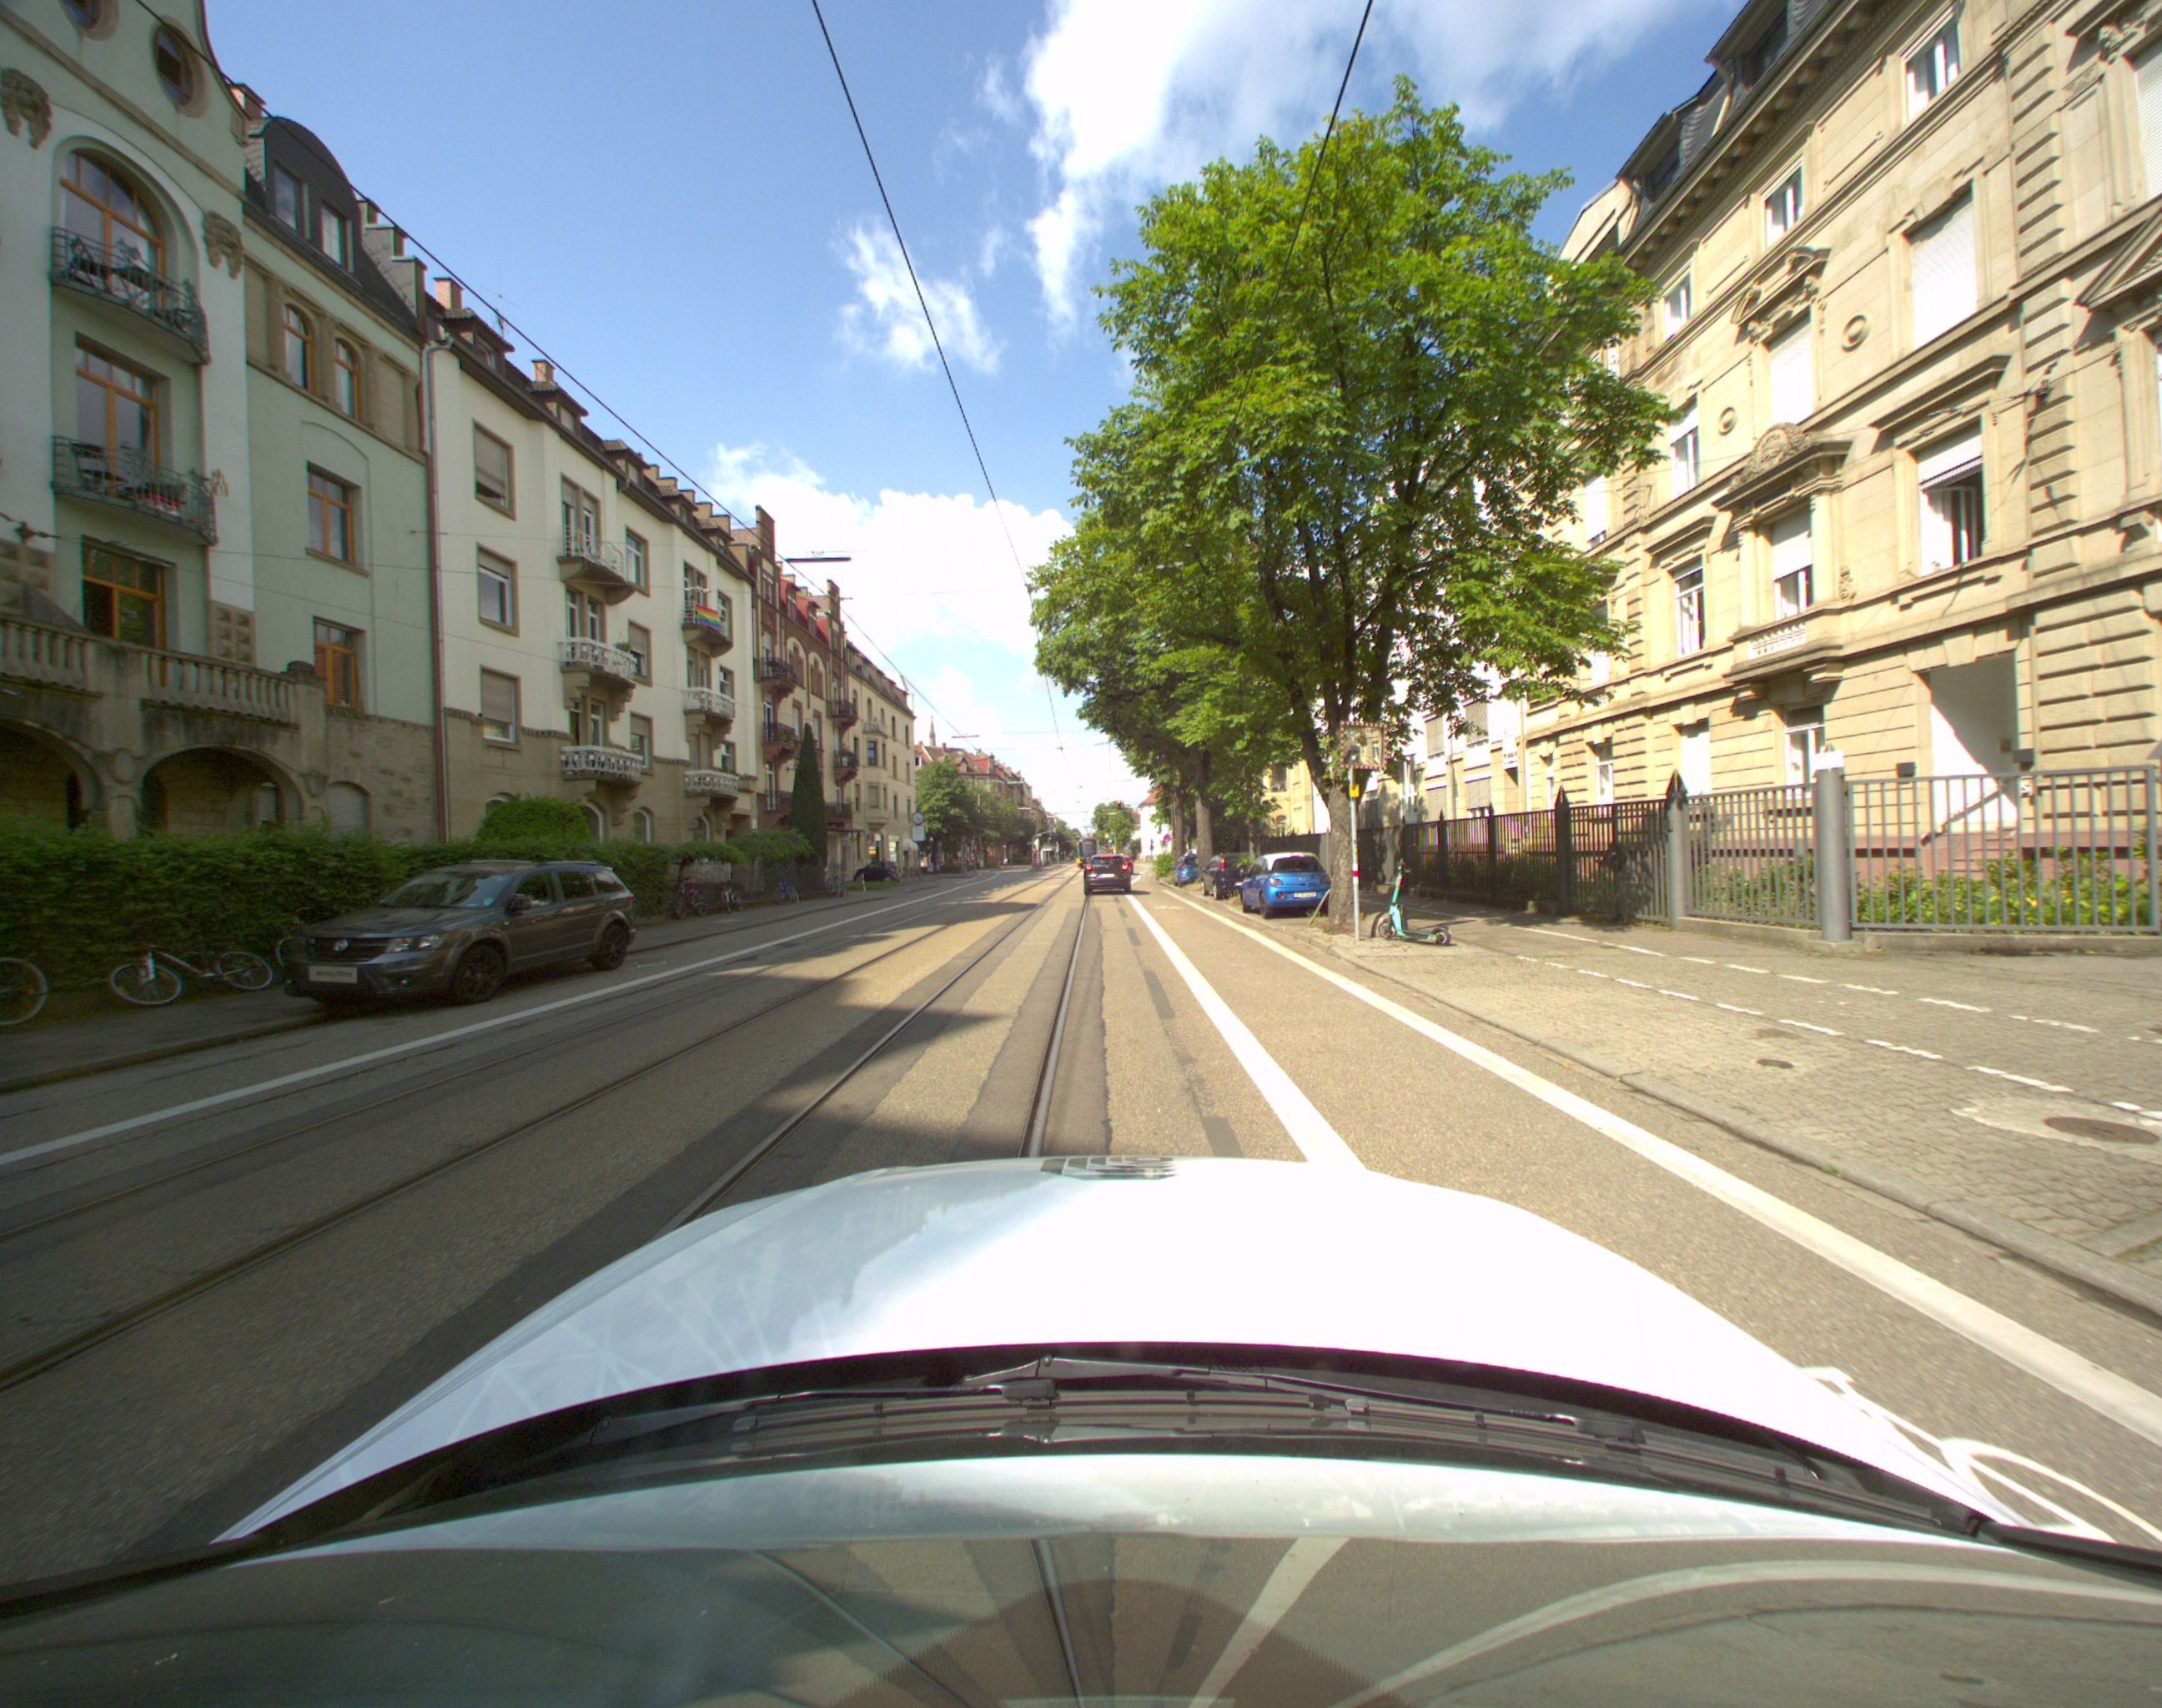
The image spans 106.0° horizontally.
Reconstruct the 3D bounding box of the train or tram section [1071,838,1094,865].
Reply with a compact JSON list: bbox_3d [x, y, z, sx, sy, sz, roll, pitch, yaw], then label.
[{"bbox_3d":[0.146,-0.295,112.733,2.645,3.528,8.489,-3,-1,-2],"label":"train or tram section"}]

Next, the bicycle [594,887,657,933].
[{"bbox_3d":[-10.625,1.290,19.074,0.449,0.959,1.801,0,0,0],"label":"bicycle"}]

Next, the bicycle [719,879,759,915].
[{"bbox_3d":[-10.463,1.299,24.936,0.381,0.975,1.802,0,0,3],"label":"bicycle"}]

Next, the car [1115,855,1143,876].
[{"bbox_3d":[3.854,0.896,65.918,1.780,1.492,4.880,-2,0,-1],"label":"car"}]

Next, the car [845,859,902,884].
[{"bbox_3d":[-13.372,1.118,52.608,3.222,1.513,1.681,0,-1,4],"label":"car"}]

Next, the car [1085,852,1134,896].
[{"bbox_3d":[1.056,0.735,32.237,1.784,1.512,4.350,-1,1,0],"label":"car"}]

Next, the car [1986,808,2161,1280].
[{"bbox_3d":[4.466,0.586,1.121,1.691,1.591,4.202,-4,0,0],"label":"car"}]

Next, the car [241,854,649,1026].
[{"bbox_3d":[-8.124,0.920,11.189,1.780,1.762,4.880,-2,0,-1],"label":"car"}]

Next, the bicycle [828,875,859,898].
[{"bbox_3d":[-10.162,1.370,34.898,0.508,0.959,1.819,1,-2,8],"label":"bicycle"}]

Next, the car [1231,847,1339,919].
[{"bbox_3d":[4.861,0.644,19.860,1.635,1.496,3.626,-3,0,-1],"label":"car"}]

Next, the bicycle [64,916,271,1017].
[{"bbox_3d":[-10.896,1.298,9.816,0.381,0.959,1.811,0,0,3],"label":"bicycle"}]

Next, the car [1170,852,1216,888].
[{"bbox_3d":[5.185,0.705,38.224,1.618,1.496,3.848,-4,0,1],"label":"car"}]

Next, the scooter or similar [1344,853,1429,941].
[{"bbox_3d":[4.820,0.656,12.917,0.443,1.299,1.171,-6,2,-30],"label":"scooter or similar"}]

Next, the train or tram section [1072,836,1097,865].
[{"bbox_3d":[0.399,-0.381,104.189,2.645,3.528,8.489,-3,-1,-2],"label":"train or tram section"}]

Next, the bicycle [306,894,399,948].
[{"bbox_3d":[-13.980,1.286,15.642,1.390,0.990,0.394,1,-1,-2],"label":"bicycle"}]

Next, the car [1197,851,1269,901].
[{"bbox_3d":[5.102,0.691,27.763,1.635,1.496,3.756,-3,0,-1],"label":"car"}]

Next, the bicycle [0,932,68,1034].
[{"bbox_3d":[-10.963,1.311,7.724,0.381,0.959,1.811,0,0,3],"label":"bicycle"}]

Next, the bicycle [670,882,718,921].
[{"bbox_3d":[-10.642,1.278,22.453,0.381,0.959,1.802,0,0,3],"label":"bicycle"}]

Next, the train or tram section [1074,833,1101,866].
[{"bbox_3d":[0.661,-0.474,95.639,2.645,3.528,8.489,-3,-1,-2],"label":"train or tram section"}]

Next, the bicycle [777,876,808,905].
[{"bbox_3d":[-10.362,1.308,29.336,0.424,0.959,1.707,0,0,3],"label":"bicycle"}]

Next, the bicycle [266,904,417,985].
[{"bbox_3d":[-10.768,1.280,11.954,0.381,0.959,1.922,0,0,3],"label":"bicycle"}]
